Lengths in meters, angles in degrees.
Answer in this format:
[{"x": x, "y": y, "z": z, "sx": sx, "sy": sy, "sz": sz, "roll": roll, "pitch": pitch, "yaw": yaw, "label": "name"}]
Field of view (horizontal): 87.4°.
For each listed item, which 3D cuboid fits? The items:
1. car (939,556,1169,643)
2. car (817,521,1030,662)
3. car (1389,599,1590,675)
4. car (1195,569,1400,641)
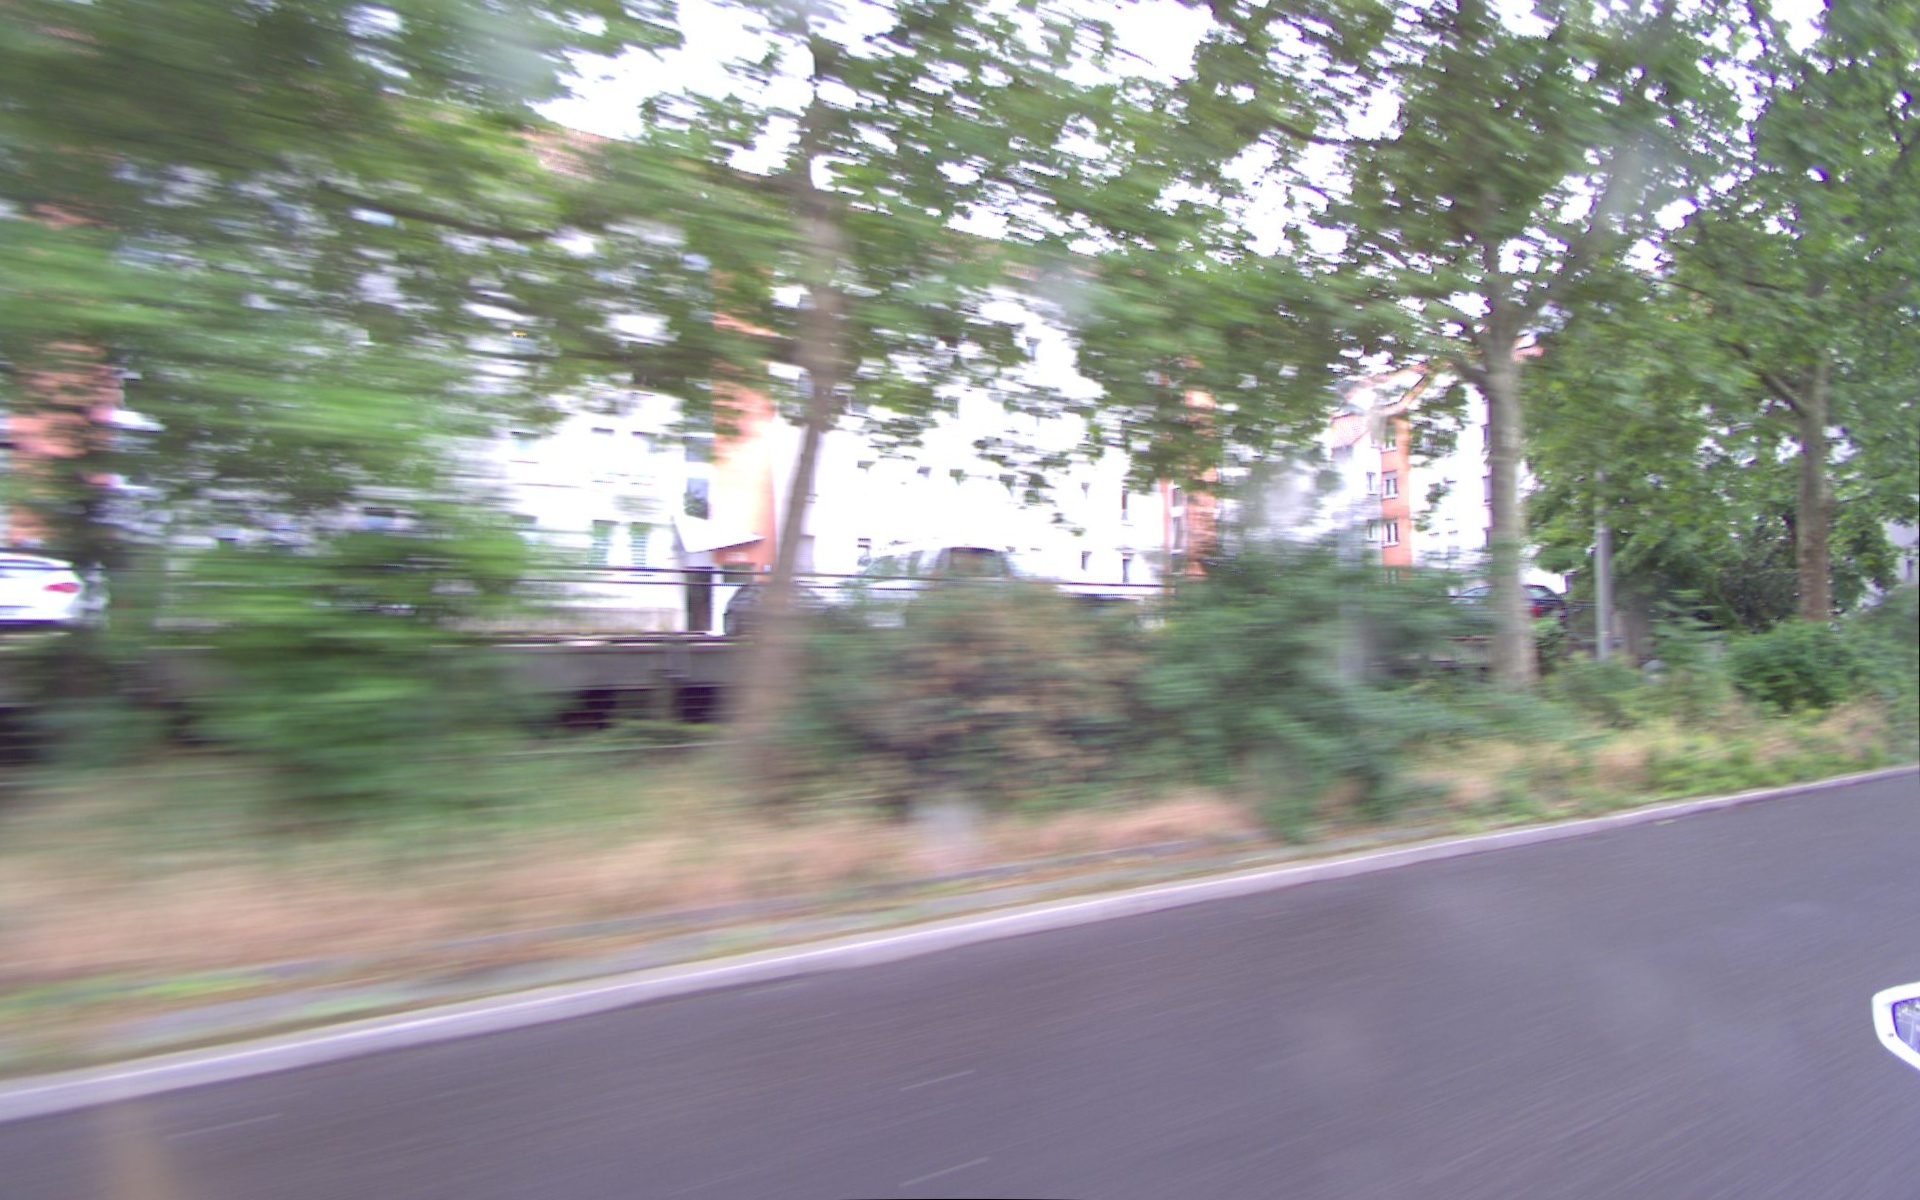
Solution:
[{"x": 1.517, "y": 0.066, "z": 17.896, "sx": 1.837, "sy": 1.340, "sz": 4.421, "roll": 1, "pitch": -2, "yaw": -31, "label": "car"}, {"x": -0.747, "y": -0.066, "z": 16.830, "sx": 1.701, "sy": 2.040, "sz": 4.144, "roll": 1, "pitch": -2, "yaw": -33, "label": "car"}, {"x": 13.084, "y": 0.882, "z": 25.048, "sx": 1.977, "sy": 1.693, "sz": 3.967, "roll": 3, "pitch": -2, "yaw": -30, "label": "car"}, {"x": 7.116, "y": 0.164, "z": 21.536, "sx": 1.811, "sy": 1.392, "sz": 3.966, "roll": 2, "pitch": -2, "yaw": -32, "label": "car"}]
